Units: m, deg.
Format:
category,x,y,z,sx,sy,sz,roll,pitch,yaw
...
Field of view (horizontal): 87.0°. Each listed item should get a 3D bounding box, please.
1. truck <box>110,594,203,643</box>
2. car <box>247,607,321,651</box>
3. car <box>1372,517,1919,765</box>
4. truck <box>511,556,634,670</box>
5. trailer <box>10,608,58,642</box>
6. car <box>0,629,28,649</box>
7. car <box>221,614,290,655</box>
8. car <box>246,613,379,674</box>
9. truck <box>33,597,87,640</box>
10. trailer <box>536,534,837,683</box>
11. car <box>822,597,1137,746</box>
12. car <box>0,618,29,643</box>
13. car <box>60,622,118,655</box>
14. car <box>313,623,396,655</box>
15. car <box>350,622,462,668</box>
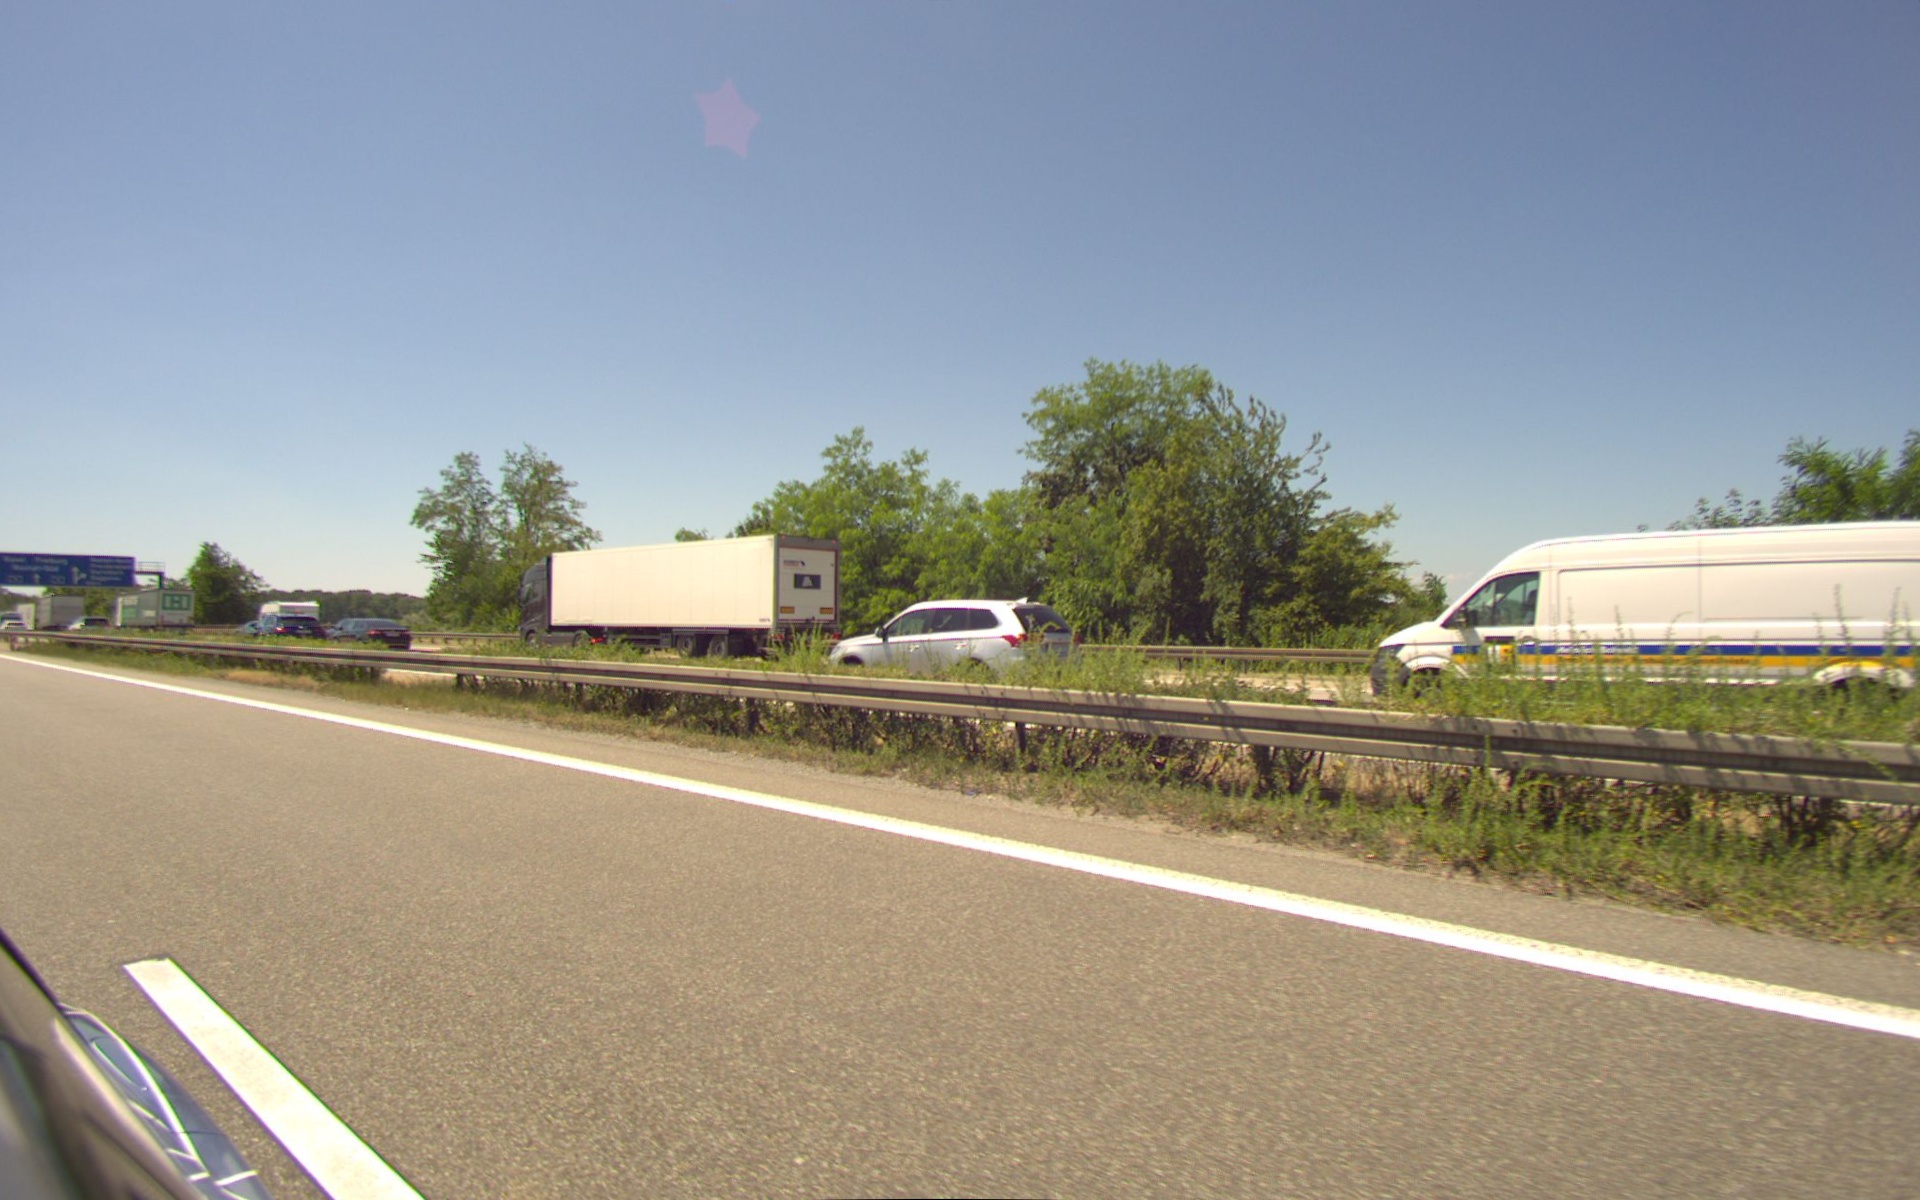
category,x,y,z,sx,sy,sz,roll,pitch,yaw
truck,-69.501,1.636,87.298,17.003,3.831,3.211,-2,0,41
car,-42.361,1.812,63.332,5.713,2.635,2.393,-2,-3,41
car,9.336,0.464,12.906,7.118,2.599,2.457,-2,0,41
truck,-15.138,0.505,39.452,4.917,4.142,2.398,-2,-1,41
trailer,-120.427,3.289,131.512,13.937,4.238,2.716,-2,0,40
car,-86.217,3.518,91.668,5.105,1.805,2.053,-2,-3,41
car,-46.917,2.281,67.340,5.713,2.635,2.393,-2,-3,41
car,-23.155,1.517,36.086,5.736,1.946,2.457,-2,0,41
truck,-86.844,1.731,97.565,9.492,3.948,2.826,0,1,42
trailer,-10.023,0.395,34.983,14.425,4.322,2.398,-2,-1,41
car,0.224,1.029,16.355,4.555,2.029,2.457,-2,0,41
car,-101.342,3.253,108.119,6.035,2.604,2.146,-2,-2,41
car,-57.666,2.548,67.012,4.555,2.029,2.274,-2,0,41
car,-32.487,2.081,54.275,4.748,1.649,2.457,-2,-3,41
car,-21.981,1.752,40.094,4.817,1.652,2.362,-2,0,41
